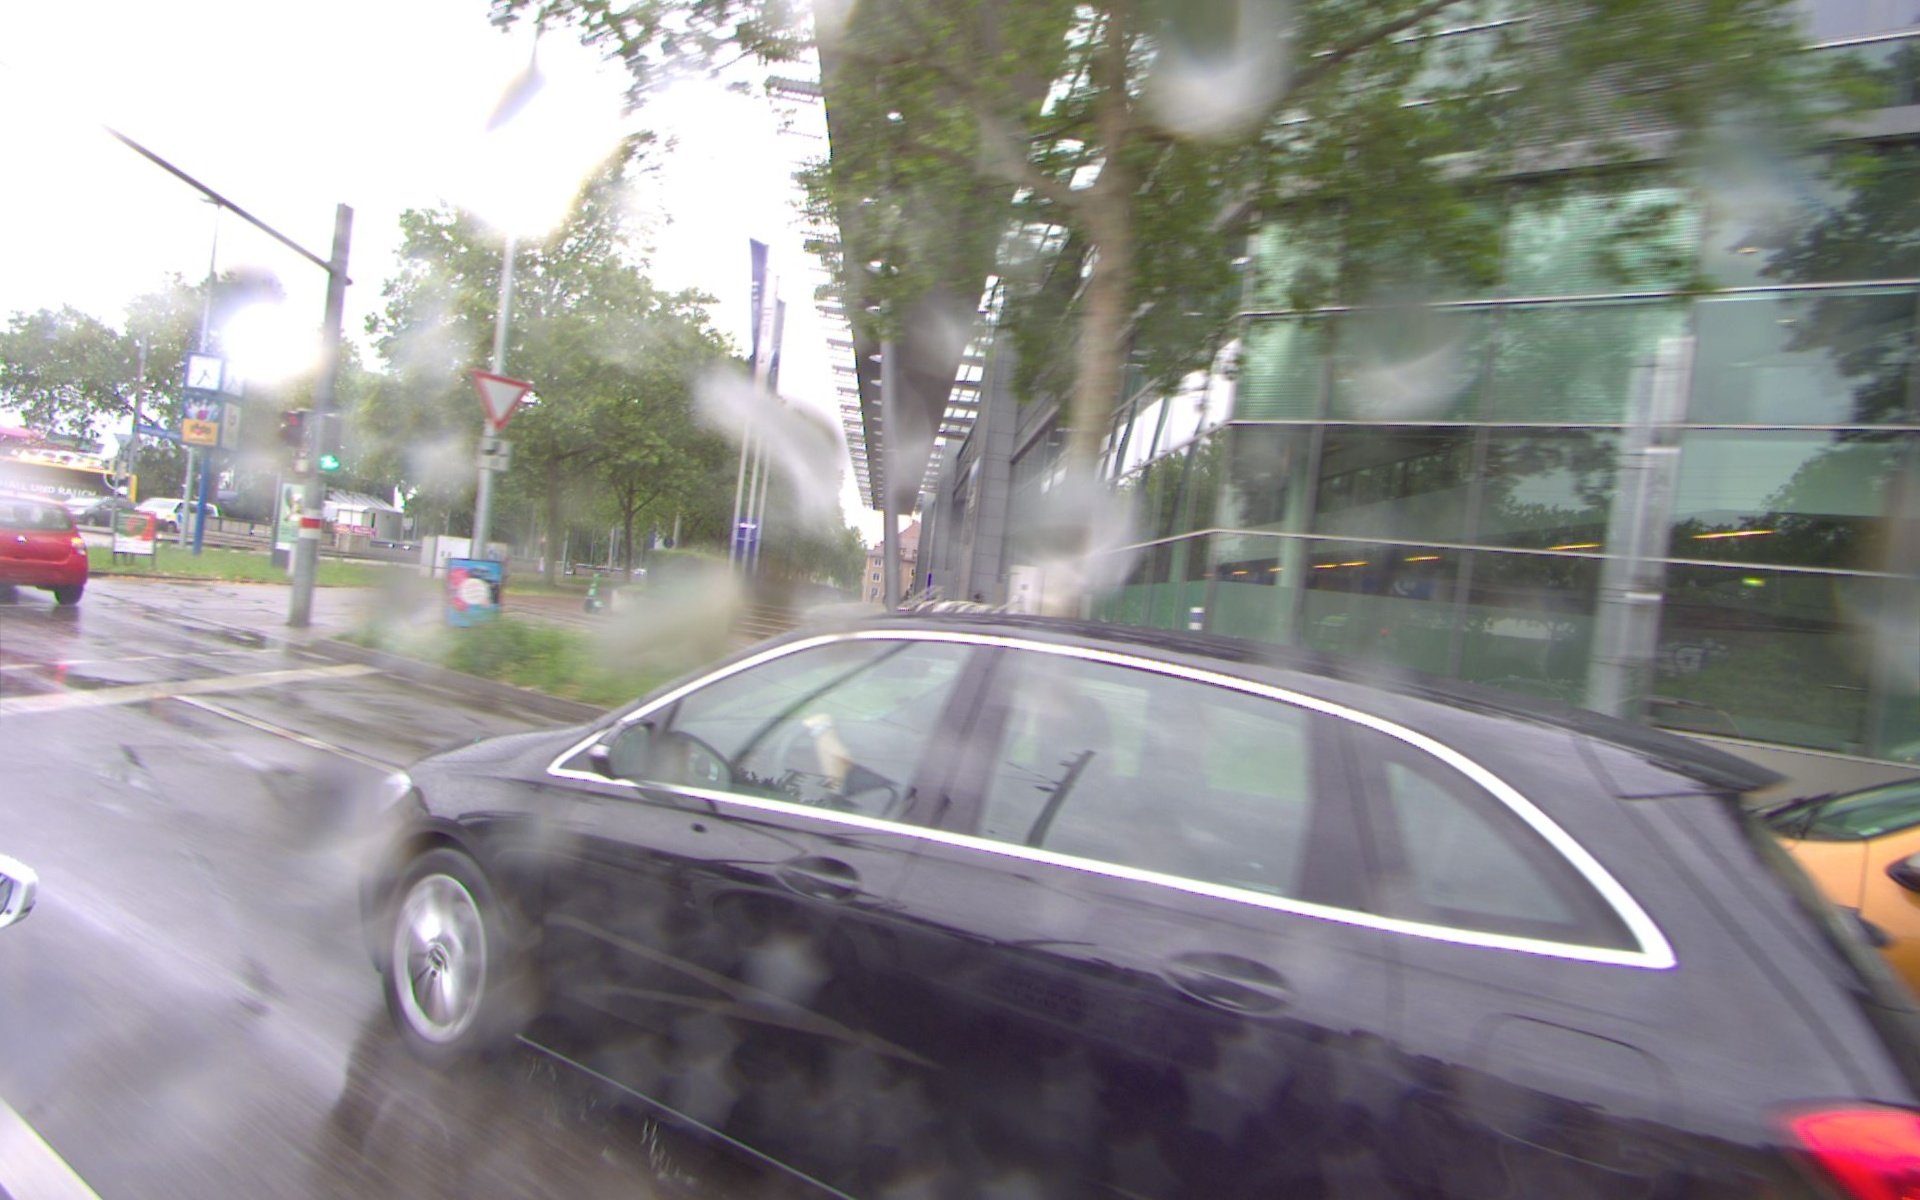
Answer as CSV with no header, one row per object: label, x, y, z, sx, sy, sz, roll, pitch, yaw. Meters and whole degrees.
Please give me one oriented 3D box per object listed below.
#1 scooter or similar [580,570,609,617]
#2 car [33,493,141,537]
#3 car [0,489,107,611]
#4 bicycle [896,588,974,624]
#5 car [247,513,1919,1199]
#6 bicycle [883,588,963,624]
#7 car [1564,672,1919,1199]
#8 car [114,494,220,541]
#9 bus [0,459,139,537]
scooter or similar,-9.372,-0.179,25.821,0.335,1.153,1.173,6,1,-8
car,-44.615,-4.315,51.537,1.899,1.671,4.337,7,0,-6
car,-13.979,-0.848,14.283,3.560,1.509,1.682,7,-1,31
bicycle,-1.239,0.327,50.404,3.656,1.348,1.182,7,0,-31
car,-0.103,0.748,3.032,4.020,1.542,1.872,7,0,32
bicycle,-1.948,0.311,52.438,3.933,1.348,1.190,7,0,-10
car,4.637,1.367,3.565,4.100,1.652,1.902,7,0,31
car,-42.047,-4.327,53.526,2.041,1.871,4.742,7,0,-5
bus,-51.023,-5.805,52.447,3.219,3.308,12.267,7,0,30
